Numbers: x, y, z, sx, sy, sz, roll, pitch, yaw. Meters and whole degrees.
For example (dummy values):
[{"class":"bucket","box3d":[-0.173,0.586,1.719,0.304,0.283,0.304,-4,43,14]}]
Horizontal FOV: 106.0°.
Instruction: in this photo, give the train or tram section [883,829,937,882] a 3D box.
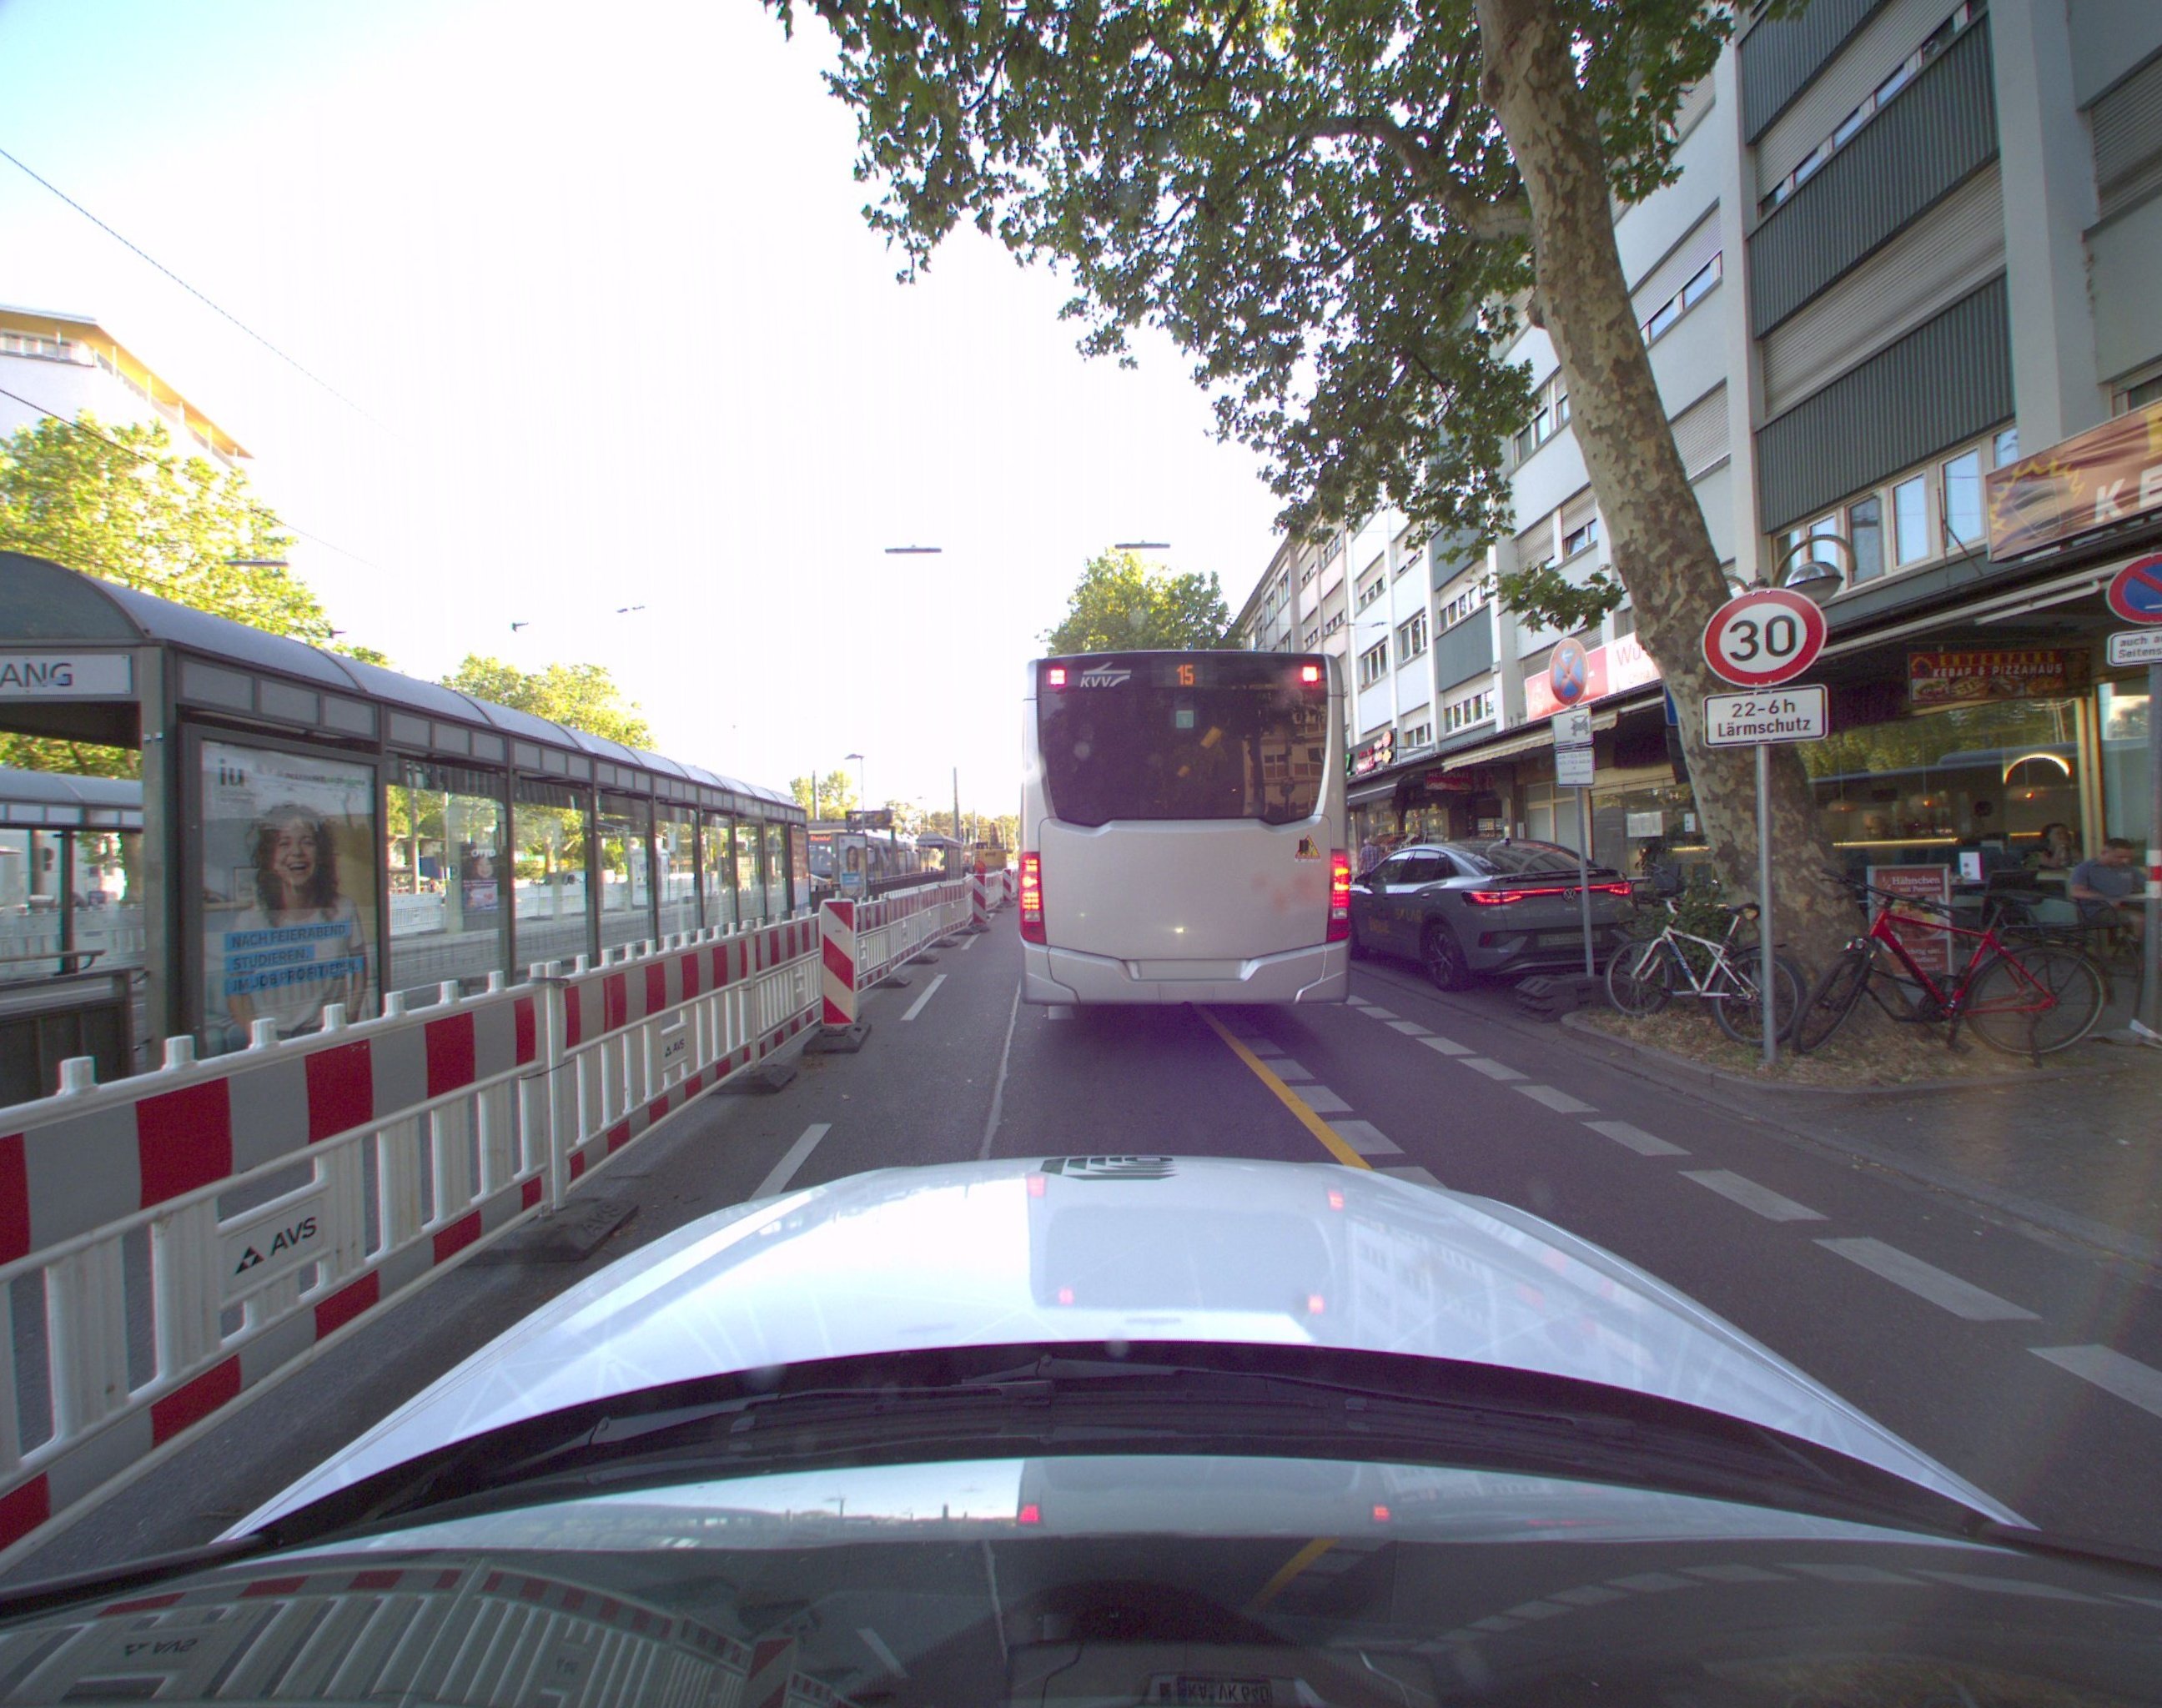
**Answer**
[{"class":"train or tram section","box3d":[-12.530,0.128,60.664,2.683,3.533,11.558,0,-1,-6]}]

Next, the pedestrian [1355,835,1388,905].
[{"class":"pedestrian","box3d":[7.223,0.392,20.285,0.658,1.666,0.603,-4,-1,18]}]

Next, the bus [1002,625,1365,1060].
[{"class":"bus","box3d":[0.861,-0.057,9.857,2.601,3.126,7.996,0,0,2]}]

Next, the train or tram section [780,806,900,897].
[{"class":"train or tram section","box3d":[-10.650,-0.057,37.482,2.681,3.534,11.756,0,-1,-3]}]

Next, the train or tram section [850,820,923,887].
[{"class":"train or tram section","box3d":[-11.474,0.032,49.166,2.682,3.558,11.559,0,-1,-5]}]

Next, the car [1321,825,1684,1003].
[{"class":"car","box3d":[4.739,0.576,10.065,1.989,1.582,4.364,-4,0,-3]}]

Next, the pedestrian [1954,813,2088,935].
[{"class":"pedestrian","box3d":[11.034,0.222,9.573,0.836,1.333,0.963,-2,-1,-39]}]

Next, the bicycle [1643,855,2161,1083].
[{"class":"bicycle","box3d":[5.049,0.719,5.099,2.370,1.155,0.557,-7,-2,14]}]

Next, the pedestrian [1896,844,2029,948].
[{"class":"pedestrian","box3d":[9.849,0.447,9.111,0.643,1.081,0.945,-2,-1,-39]}]

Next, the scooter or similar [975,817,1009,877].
[{"class":"scooter or similar","box3d":[-7.039,-0.518,65.064,2.465,4.471,5.961,-2,0,-5]}]

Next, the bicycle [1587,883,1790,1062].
[{"class":"bicycle","box3d":[4.564,0.833,6.240,0.550,1.155,1.446,-2,-1,6]}]

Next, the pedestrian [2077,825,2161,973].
[{"class":"pedestrian","box3d":[9.528,0.381,7.197,0.555,1.245,0.692,-4,0,8]}]

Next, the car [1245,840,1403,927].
[{"class":"car","box3d":[5.254,0.577,18.300,1.989,1.582,4.364,-4,0,-3]}]
